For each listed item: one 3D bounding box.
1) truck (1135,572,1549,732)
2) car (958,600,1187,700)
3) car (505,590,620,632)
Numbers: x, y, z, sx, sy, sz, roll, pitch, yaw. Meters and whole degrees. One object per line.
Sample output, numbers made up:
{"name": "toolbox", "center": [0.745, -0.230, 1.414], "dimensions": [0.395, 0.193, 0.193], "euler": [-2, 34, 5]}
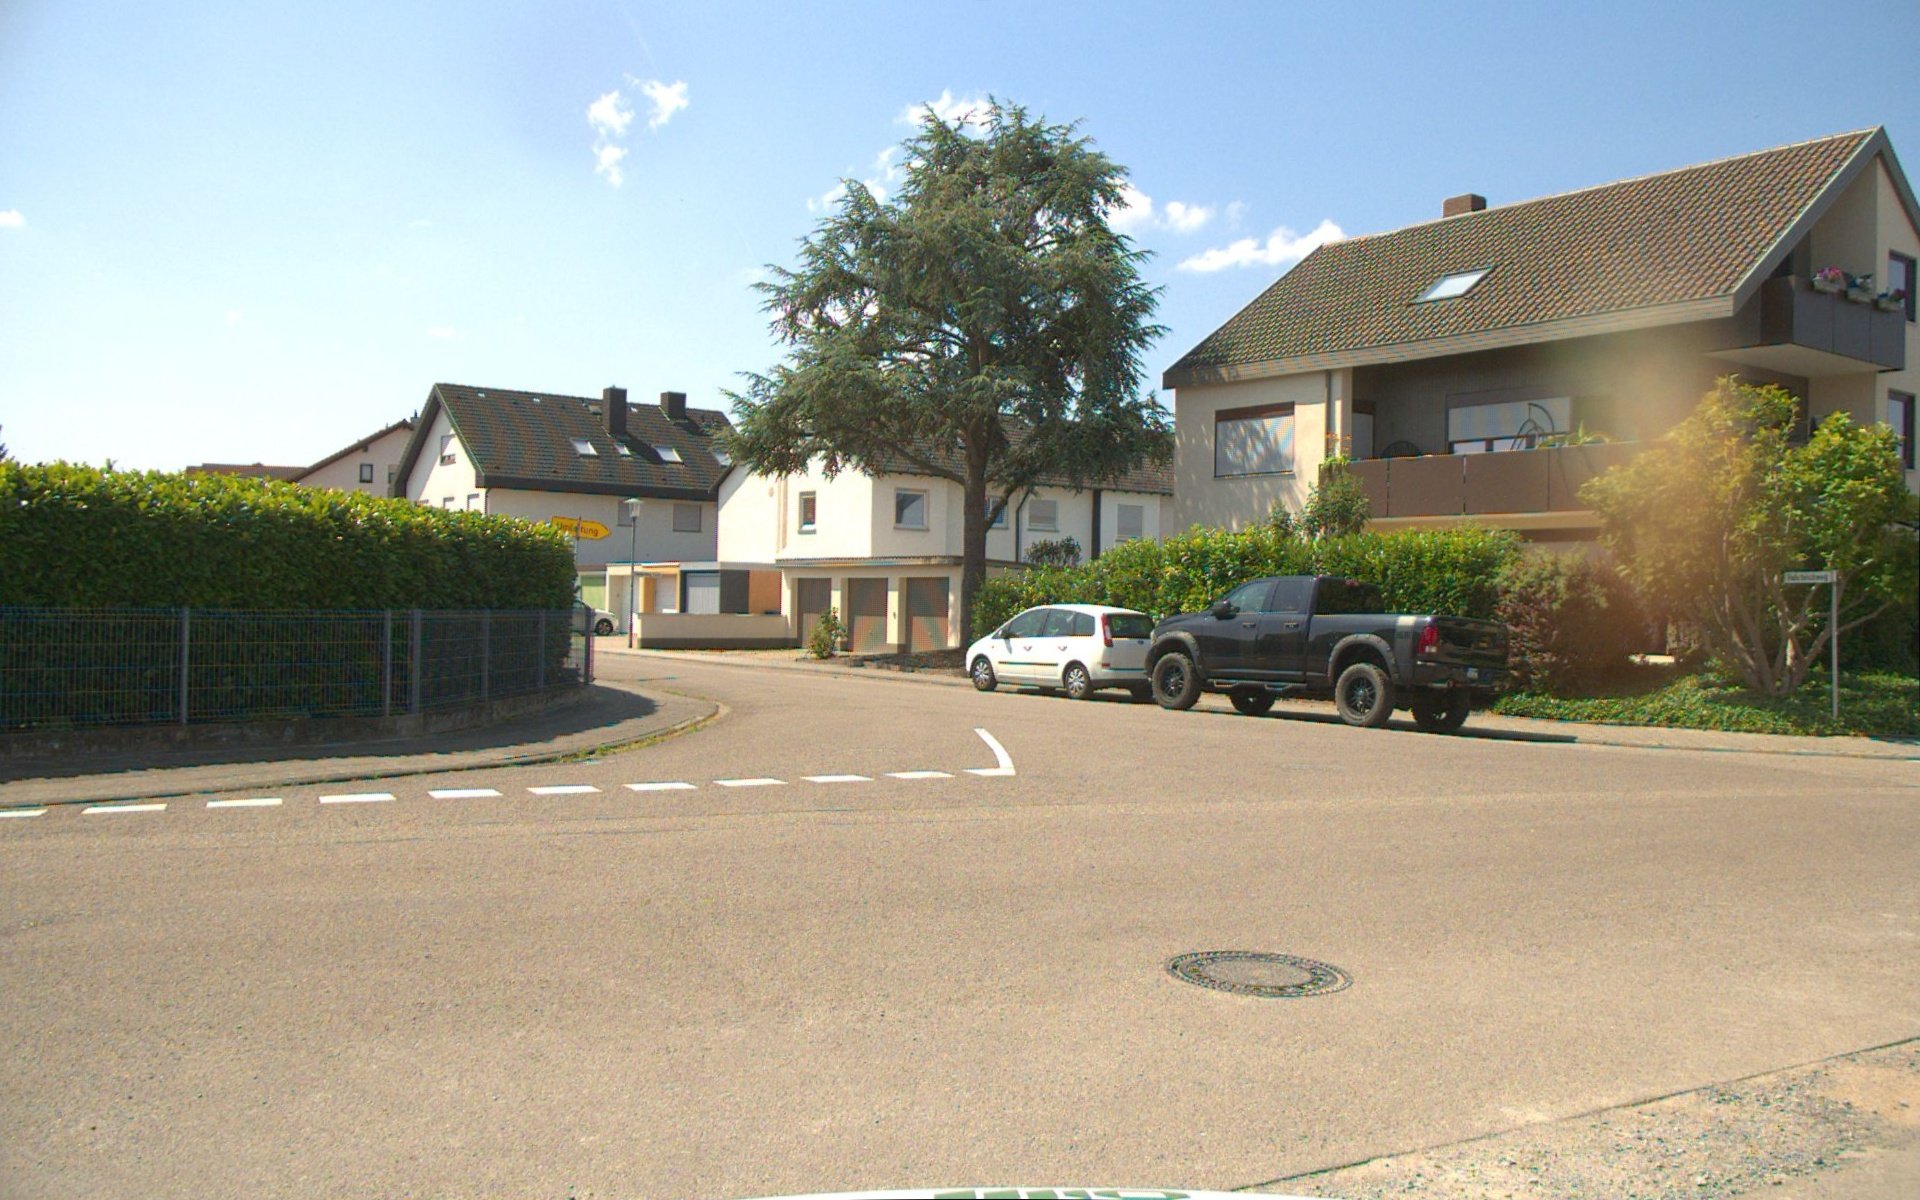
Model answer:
{"name": "truck", "center": [5.403, 0.669, 24.153], "dimensions": [2.349, 2.049, 5.631], "euler": [2, -1, -40]}
{"name": "car", "center": [1.937, 0.845, 29.539], "dimensions": [1.786, 1.590, 4.085], "euler": [2, 0, -39]}
{"name": "car", "center": [-14.163, 0.397, 58.990], "dimensions": [3.572, 1.433, 1.760], "euler": [1, 0, -37]}
